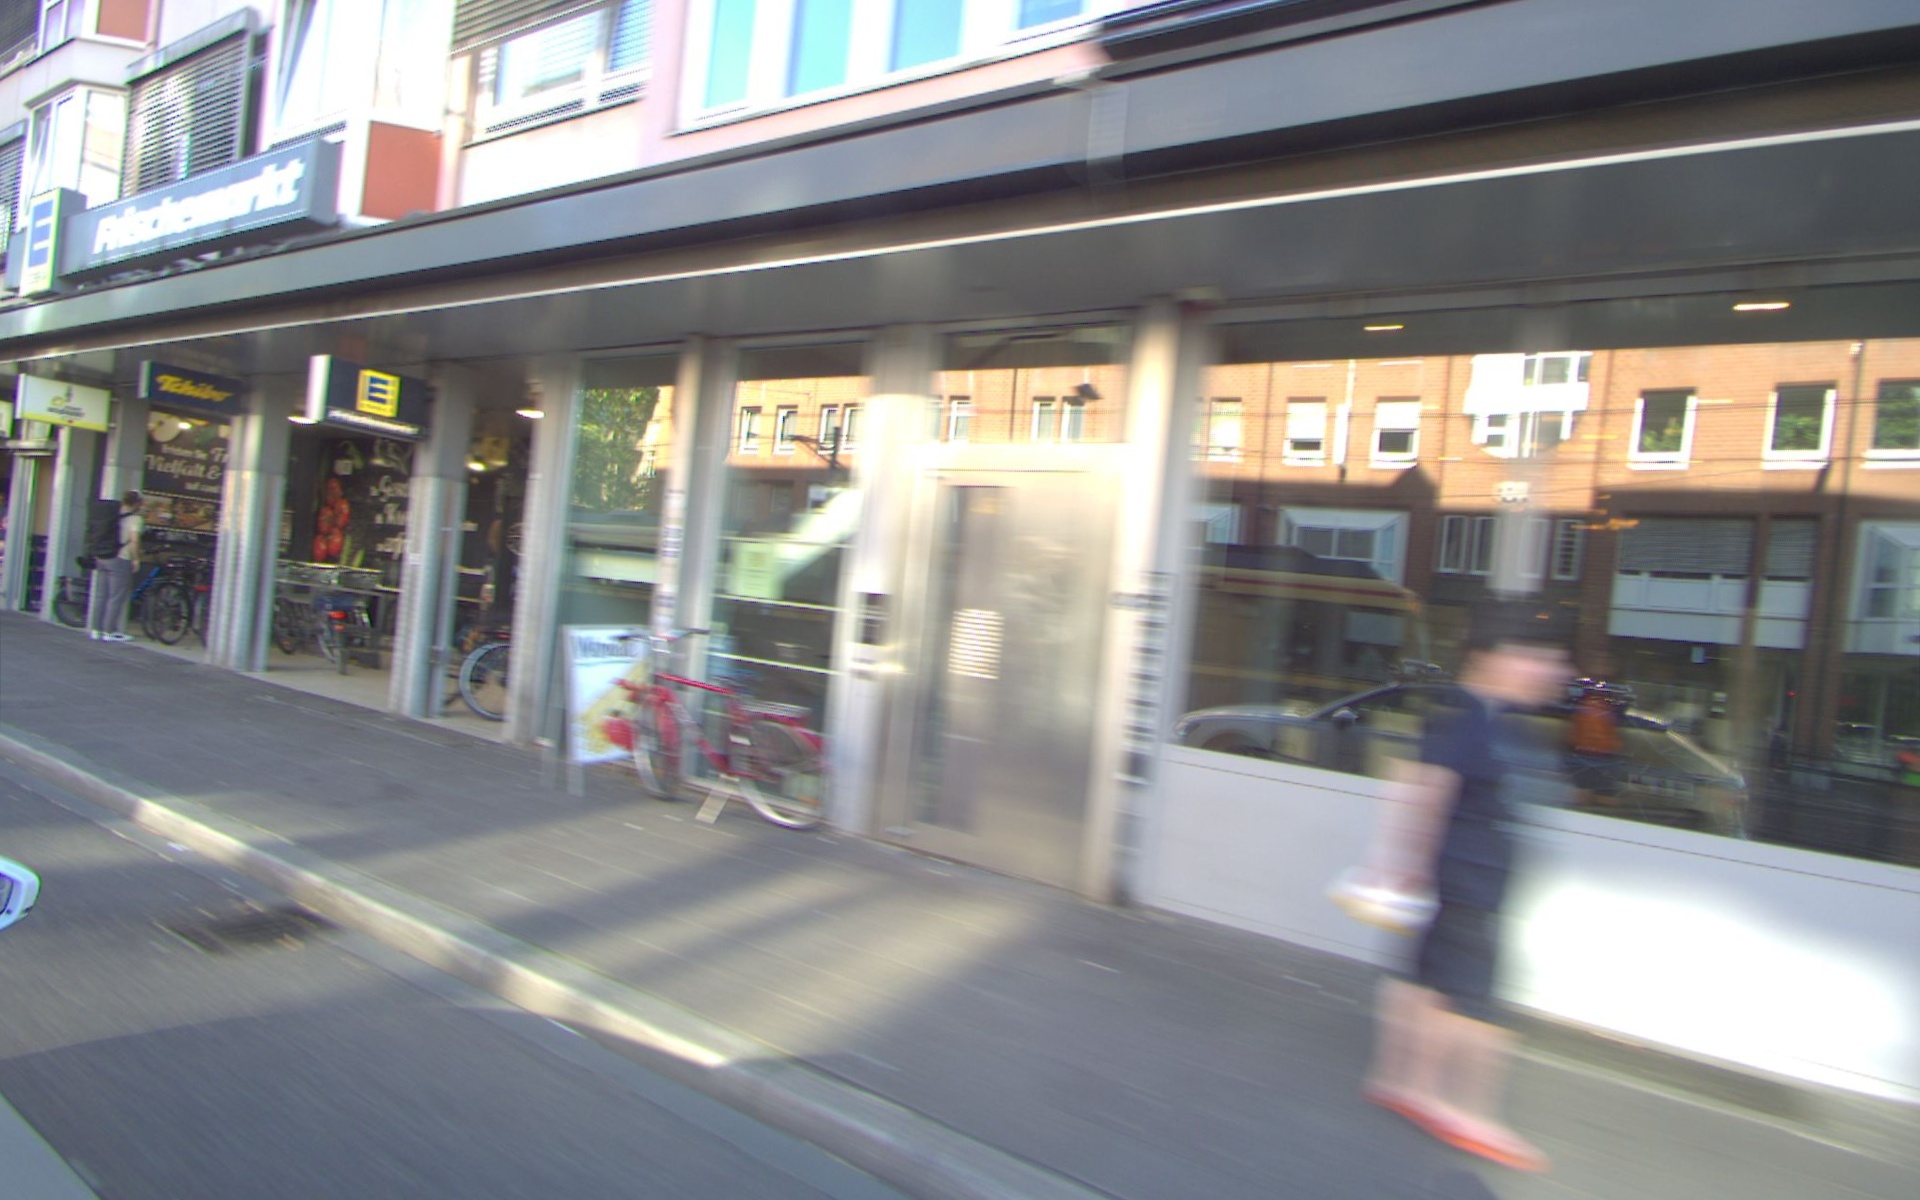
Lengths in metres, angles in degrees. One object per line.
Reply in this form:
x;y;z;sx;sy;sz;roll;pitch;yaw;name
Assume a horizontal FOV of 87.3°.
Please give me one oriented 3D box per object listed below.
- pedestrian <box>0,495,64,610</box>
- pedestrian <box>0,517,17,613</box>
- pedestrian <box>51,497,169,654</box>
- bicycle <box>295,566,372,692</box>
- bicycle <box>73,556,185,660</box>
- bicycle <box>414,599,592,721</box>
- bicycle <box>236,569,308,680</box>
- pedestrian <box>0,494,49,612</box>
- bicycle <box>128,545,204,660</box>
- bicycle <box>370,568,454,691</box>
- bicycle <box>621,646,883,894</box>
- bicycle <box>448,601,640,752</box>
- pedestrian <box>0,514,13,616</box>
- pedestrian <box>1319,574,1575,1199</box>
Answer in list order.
-14.407;-0.726;15.424;0.684;1.696;0.773;5;1;31;pedestrian
-16.531;-0.618;17.148;0.457;1.623;0.456;5;-1;35;pedestrian
-9.950;-0.275;11.801;0.580;1.744;0.788;6;2;14;pedestrian
-7.009;0.274;11.210;0.551;1.251;2.066;6;-2;-34;bicycle
-10.772;0.110;13.089;0.403;1.251;1.384;6;-1;-11;bicycle
-4.377;0.605;9.743;0.427;1.053;1.513;7;-1;29;bicycle
-8.795;0.278;12.882;0.572;1.268;2.098;8;-3;-34;bicycle
-13.836;-0.687;14.596;0.629;1.657;0.726;5;1;33;pedestrian
-9.712;0.004;12.347;0.466;1.266;2.066;6;-2;-34;bicycle
-6.281;0.298;11.478;0.551;1.251;2.066;6;-2;-34;bicycle
-1.205;0.907;5.734;1.383;1.141;0.516;5;-1;31;bicycle
-3.718;0.691;9.074;1.461;1.214;0.480;6;-1;-22;bicycle
-15.938;-0.605;16.398;0.514;1.652;0.516;5;-1;37;pedestrian
1.473;0.777;3.010;0.487;1.634;0.707;5;1;31;pedestrian
